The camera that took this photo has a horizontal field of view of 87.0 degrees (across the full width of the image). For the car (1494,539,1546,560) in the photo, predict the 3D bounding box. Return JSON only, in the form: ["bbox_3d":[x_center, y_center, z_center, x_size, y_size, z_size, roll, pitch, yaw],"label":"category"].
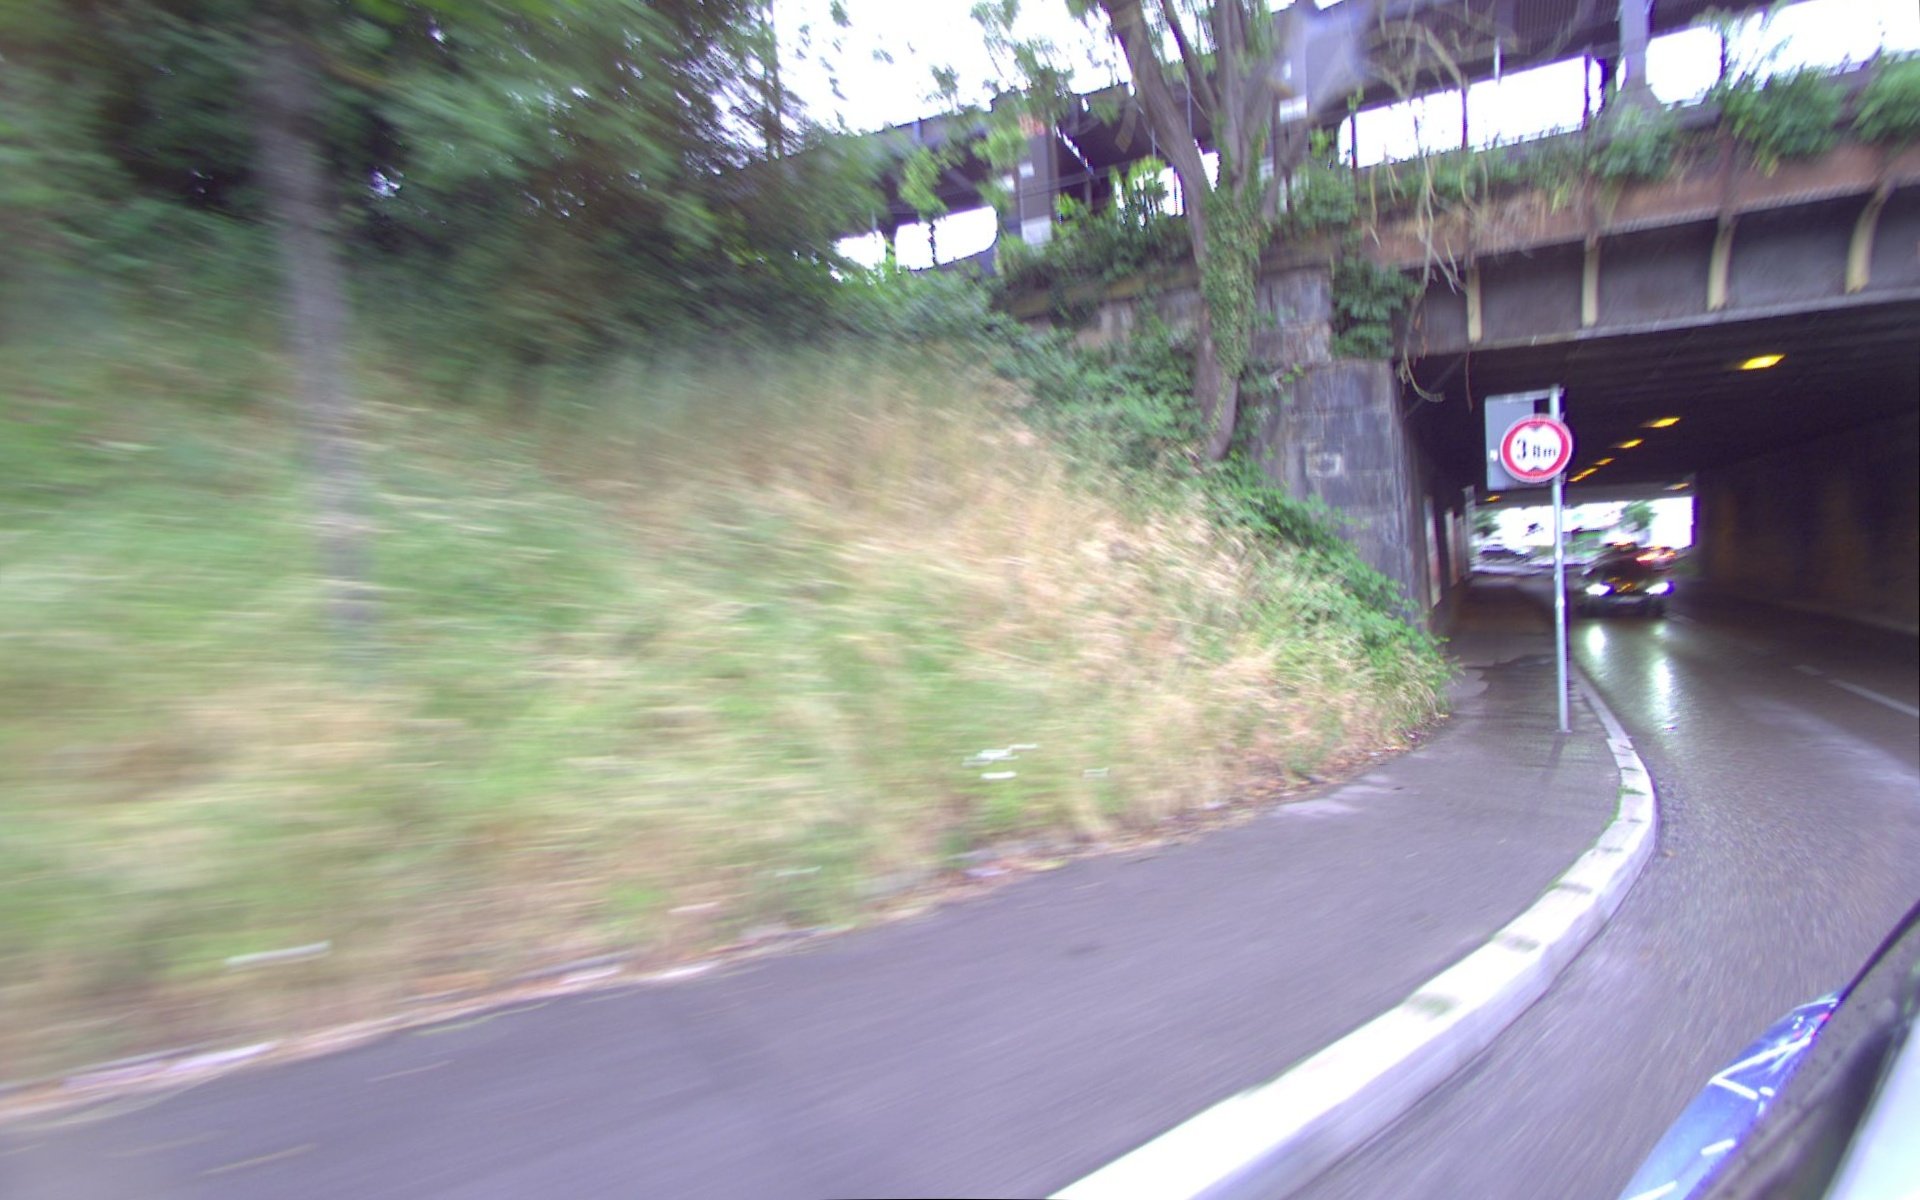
[{"bbox_3d":[43.671,-3.935,78.954,1.254,1.475,3.258,-4,3,-33],"label":"car"}]

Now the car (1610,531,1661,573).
[{"bbox_3d":[32.737,-2.361,49.153,1.899,1.823,3.956,-2,3,32],"label":"car"}]

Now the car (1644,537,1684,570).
[{"bbox_3d":[37.464,-2.485,53.908,1.584,1.561,4.026,-2,3,34],"label":"car"}]

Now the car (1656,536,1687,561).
[{"bbox_3d":[41.468,-3.038,59.030,1.269,1.332,3.283,-2,3,33],"label":"car"}]

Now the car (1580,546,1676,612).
[{"bbox_3d":[18.109,-0.625,27.591,1.795,1.536,4.015,-2,3,29],"label":"car"}]

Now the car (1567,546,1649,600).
[{"bbox_3d":[20.700,-0.901,32.469,1.795,1.536,4.016,-1,3,27],"label":"car"}]
